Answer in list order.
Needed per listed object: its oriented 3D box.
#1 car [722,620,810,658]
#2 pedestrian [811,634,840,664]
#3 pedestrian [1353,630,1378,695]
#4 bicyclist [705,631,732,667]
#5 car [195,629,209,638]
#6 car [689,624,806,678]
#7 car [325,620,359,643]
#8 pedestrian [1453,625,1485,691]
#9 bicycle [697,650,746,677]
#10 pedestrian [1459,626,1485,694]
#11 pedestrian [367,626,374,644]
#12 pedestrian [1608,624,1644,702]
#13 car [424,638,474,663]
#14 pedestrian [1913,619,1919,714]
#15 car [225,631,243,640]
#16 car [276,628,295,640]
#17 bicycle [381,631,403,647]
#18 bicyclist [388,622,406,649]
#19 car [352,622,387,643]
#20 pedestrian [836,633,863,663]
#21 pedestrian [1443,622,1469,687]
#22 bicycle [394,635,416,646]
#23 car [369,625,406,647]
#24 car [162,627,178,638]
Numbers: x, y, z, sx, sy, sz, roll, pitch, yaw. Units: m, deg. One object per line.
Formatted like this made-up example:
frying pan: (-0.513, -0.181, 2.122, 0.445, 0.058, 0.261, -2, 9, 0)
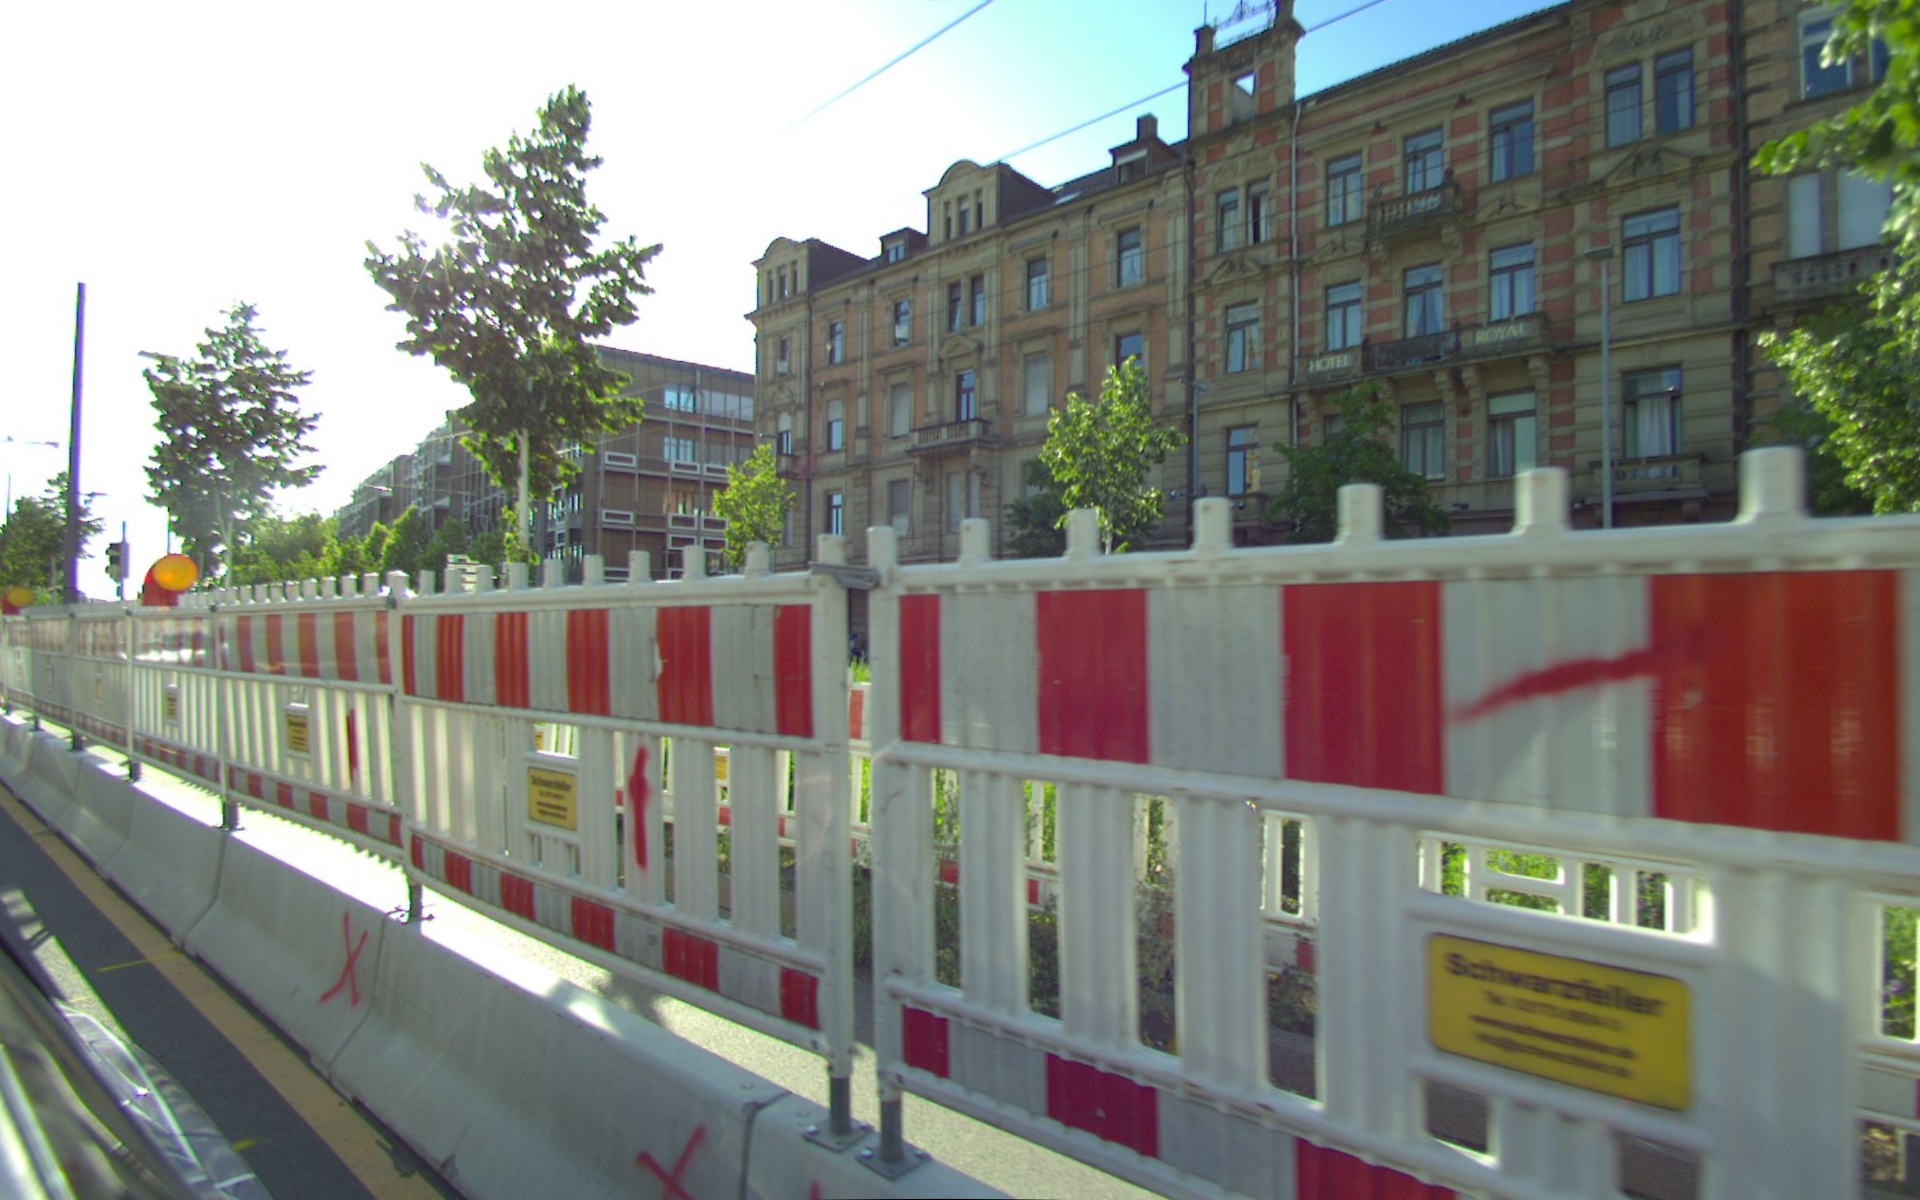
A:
car: (-10.222, 2.071, 53.636, 1.895, 1.918, 4.467, -2, -3, 37)
pedestrian: (-5.631, 2.032, 42.264, 0.929, 1.217, 0.782, -2, -3, 43)
pedestrian: (10.152, 1.546, 25.338, 0.425, 1.597, 0.399, -2, -1, 42)
bicyclist: (-8.484, 1.718, 35.574, 0.738, 1.249, 0.630, -2, -3, 43)
car: (-121.517, 5.364, 162.211, 1.607, 1.507, 3.786, 3, -3, -40)
car: (-6.292, 1.466, 29.792, 3.623, 1.494, 1.577, -2, -3, 43)
car: (-51.157, 2.619, 83.767, 1.729, 1.785, 4.337, 0, -2, -40)
pedestrian: (12.453, 1.409, 24.769, 0.474, 1.597, 0.484, -1, -1, -7)
bicycle: (-8.365, 2.210, 35.447, 2.031, 0.864, 0.630, -2, -3, 43)
pedestrian: (12.346, 1.444, 24.405, 0.401, 1.597, 0.367, -1, -1, 3)
pedestrian: (-57.339, 3.365, 98.479, 0.513, 1.735, 0.537, 3, -3, -37)
pedestrian: (13.847, 1.299, 21.051, 0.533, 1.597, 0.481, -2, -1, 42)
car: (-31.874, 3.127, 63.088, 1.710, 1.472, 3.902, -1, -1, -45)
pedestrian: (18.256, 1.258, 19.059, 0.406, 1.778, 0.363, -2, -1, 42)
car: (-112.986, 5.453, 157.546, 1.696, 1.398, 4.043, 1, -2, -43)
car: (-92.690, 4.693, 139.076, 1.700, 1.556, 3.636, 0, -2, -41)
bicycle: (-35.253, 2.413, 62.789, 1.827, 0.985, 0.687, -2, -3, 43)
bicyclist: (-35.023, 2.186, 62.929, 0.882, 1.670, 0.687, -2, -3, 43)
car: (-44.279, 2.434, 75.831, 1.604, 1.452, 3.825, 0, -2, -40)
pedestrian: (-4.588, 1.985, 41.916, 0.929, 1.217, 0.682, -2, -3, 43)
pedestrian: (12.304, 1.347, 25.114, 0.379, 1.597, 0.392, -1, -1, -18)
bicycle: (-53.937, 3.943, 98.398, 1.849, 1.080, 0.426, 3, -4, -36)
car: (-40.927, 2.578, 72.302, 1.628, 1.566, 3.972, 2, -3, -40)
car: (-129.089, 5.391, 165.412, 1.707, 1.760, 4.126, 2, -3, -42)
